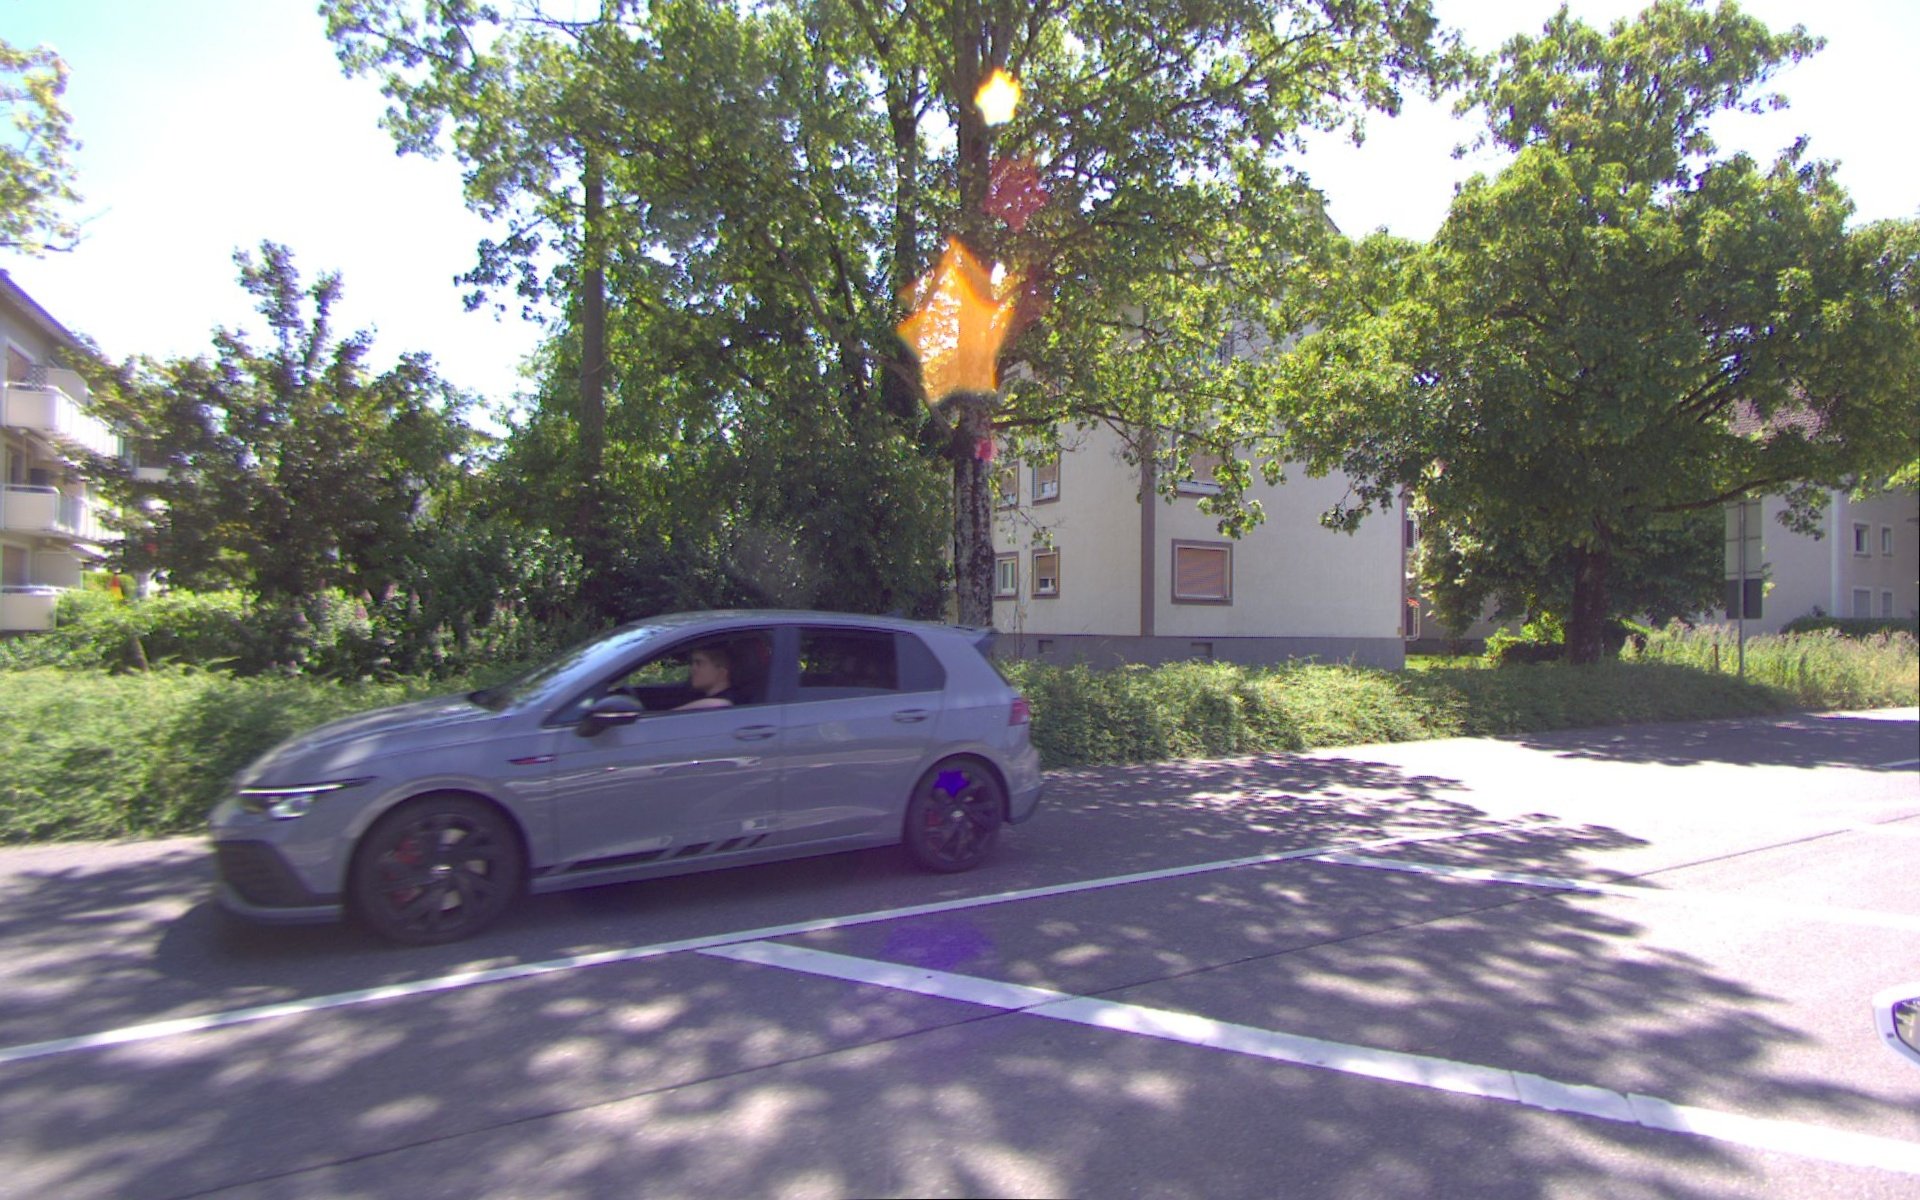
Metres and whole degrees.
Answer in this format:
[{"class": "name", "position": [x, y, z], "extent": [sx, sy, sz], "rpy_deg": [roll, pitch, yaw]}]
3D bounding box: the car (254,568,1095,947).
[{"class": "car", "position": [-1.383, 0.656, 5.663], "extent": [4.101, 1.446, 1.712], "rpy_deg": [2, -1, -32]}]
